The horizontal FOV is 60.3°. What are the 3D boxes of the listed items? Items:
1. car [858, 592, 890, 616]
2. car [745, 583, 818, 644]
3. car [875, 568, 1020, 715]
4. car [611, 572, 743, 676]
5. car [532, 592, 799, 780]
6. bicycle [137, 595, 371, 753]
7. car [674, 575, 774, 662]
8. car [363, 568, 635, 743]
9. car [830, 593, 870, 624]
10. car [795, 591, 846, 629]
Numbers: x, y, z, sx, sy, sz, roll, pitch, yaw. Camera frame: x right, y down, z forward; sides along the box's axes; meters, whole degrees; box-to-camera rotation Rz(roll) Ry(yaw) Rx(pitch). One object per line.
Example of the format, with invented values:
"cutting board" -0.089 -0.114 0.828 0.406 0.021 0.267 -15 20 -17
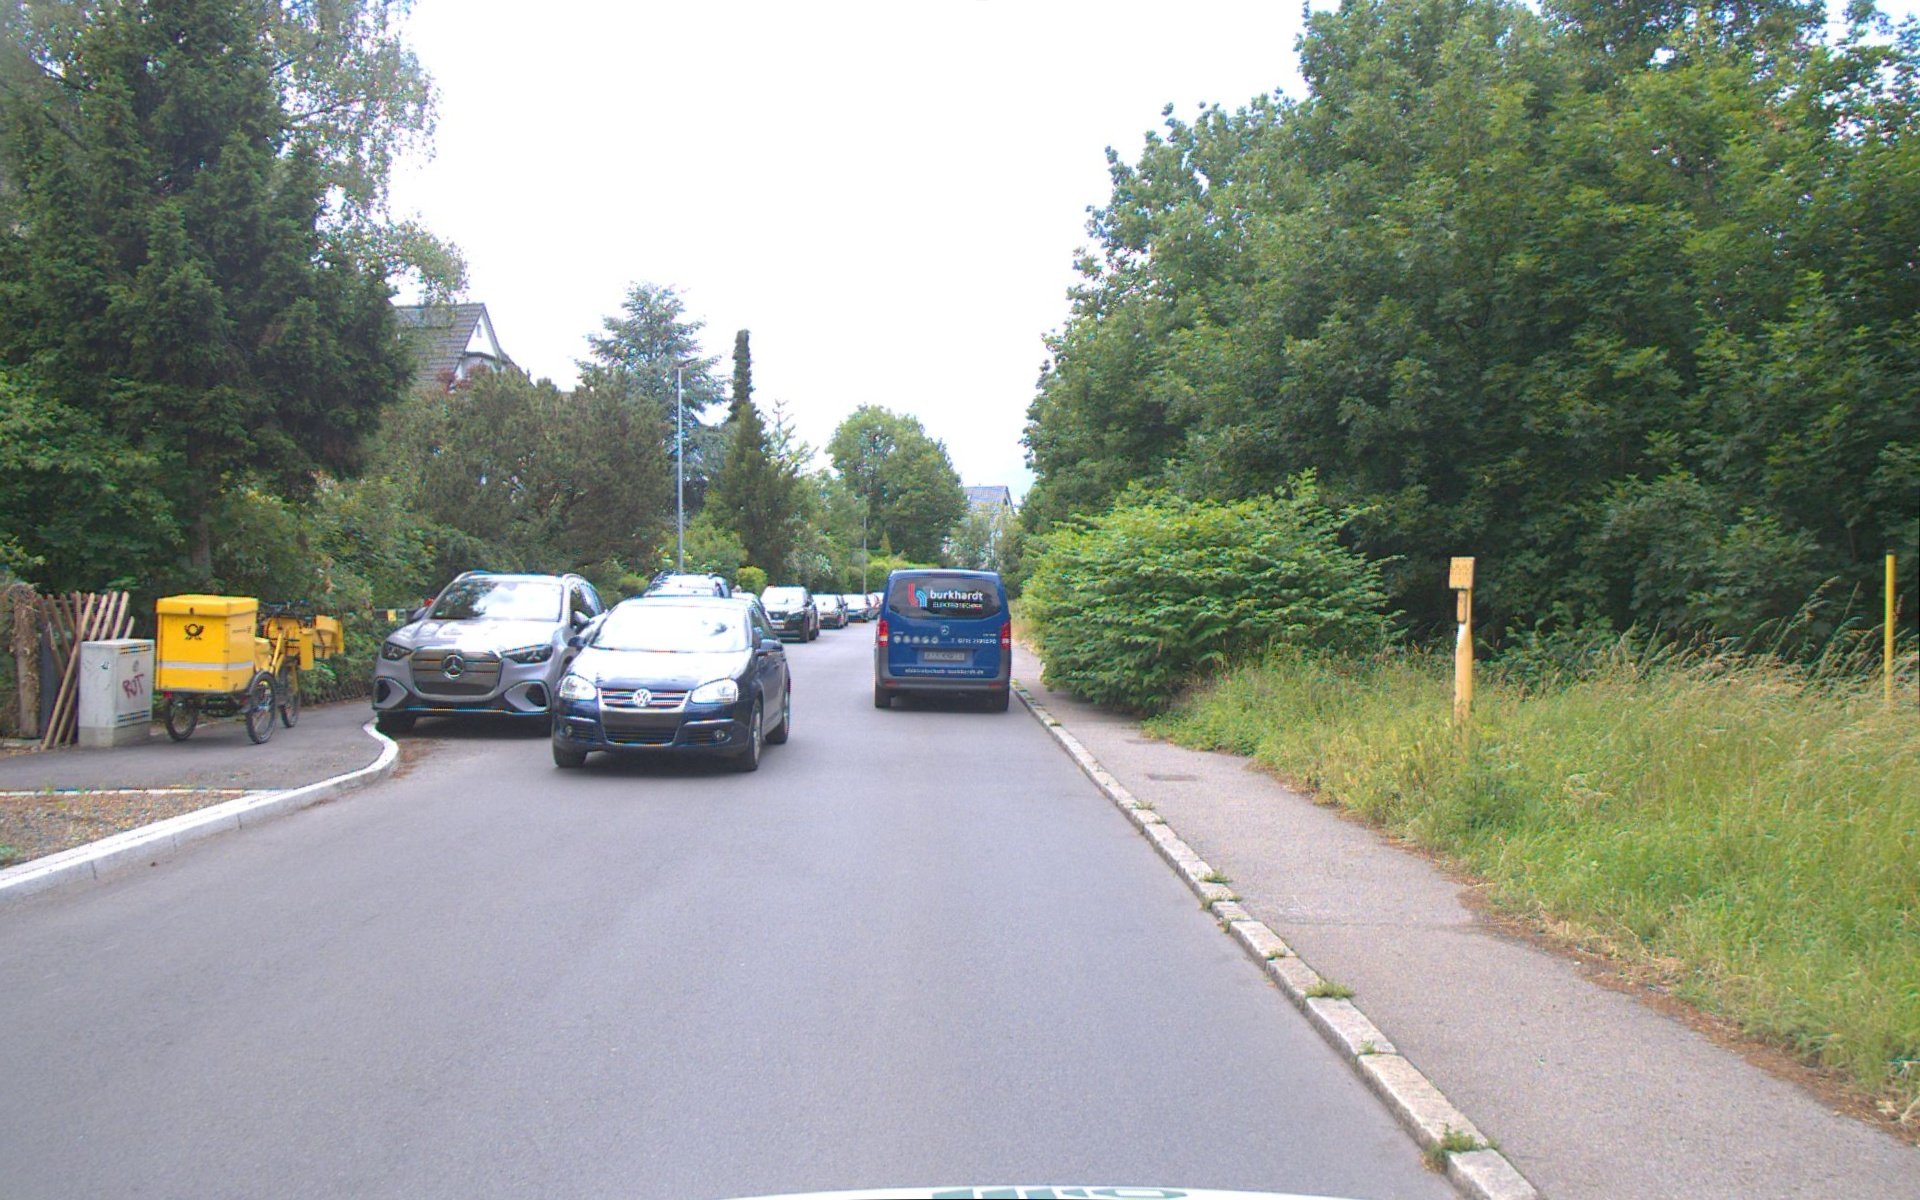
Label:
"car" -5.594 0.247 107.497 1.889 1.437 3.963 1 2 -1
"car" -5.630 0.400 52.670 1.853 1.721 4.549 1 2 -1
"car" -0.246 0.504 23.505 1.851 1.876 3.998 1 1 -3
"car" -5.228 0.402 31.033 1.794 1.782 3.999 1 1 -1
"car" -2.555 0.681 15.270 1.782 1.469 3.999 1 0 -1
"bicycle" -6.364 0.617 15.158 0.887 1.273 2.915 2 0 -1
"car" -5.254 0.409 37.200 1.795 1.836 3.998 1 -1 -2
"car" -4.874 0.531 18.139 1.799 1.659 4.299 1 0 -1
"car" -5.896 0.440 88.855 1.889 1.437 3.963 1 2 -1
"car" -6.007 0.417 71.626 1.889 1.437 3.963 1 2 -1
